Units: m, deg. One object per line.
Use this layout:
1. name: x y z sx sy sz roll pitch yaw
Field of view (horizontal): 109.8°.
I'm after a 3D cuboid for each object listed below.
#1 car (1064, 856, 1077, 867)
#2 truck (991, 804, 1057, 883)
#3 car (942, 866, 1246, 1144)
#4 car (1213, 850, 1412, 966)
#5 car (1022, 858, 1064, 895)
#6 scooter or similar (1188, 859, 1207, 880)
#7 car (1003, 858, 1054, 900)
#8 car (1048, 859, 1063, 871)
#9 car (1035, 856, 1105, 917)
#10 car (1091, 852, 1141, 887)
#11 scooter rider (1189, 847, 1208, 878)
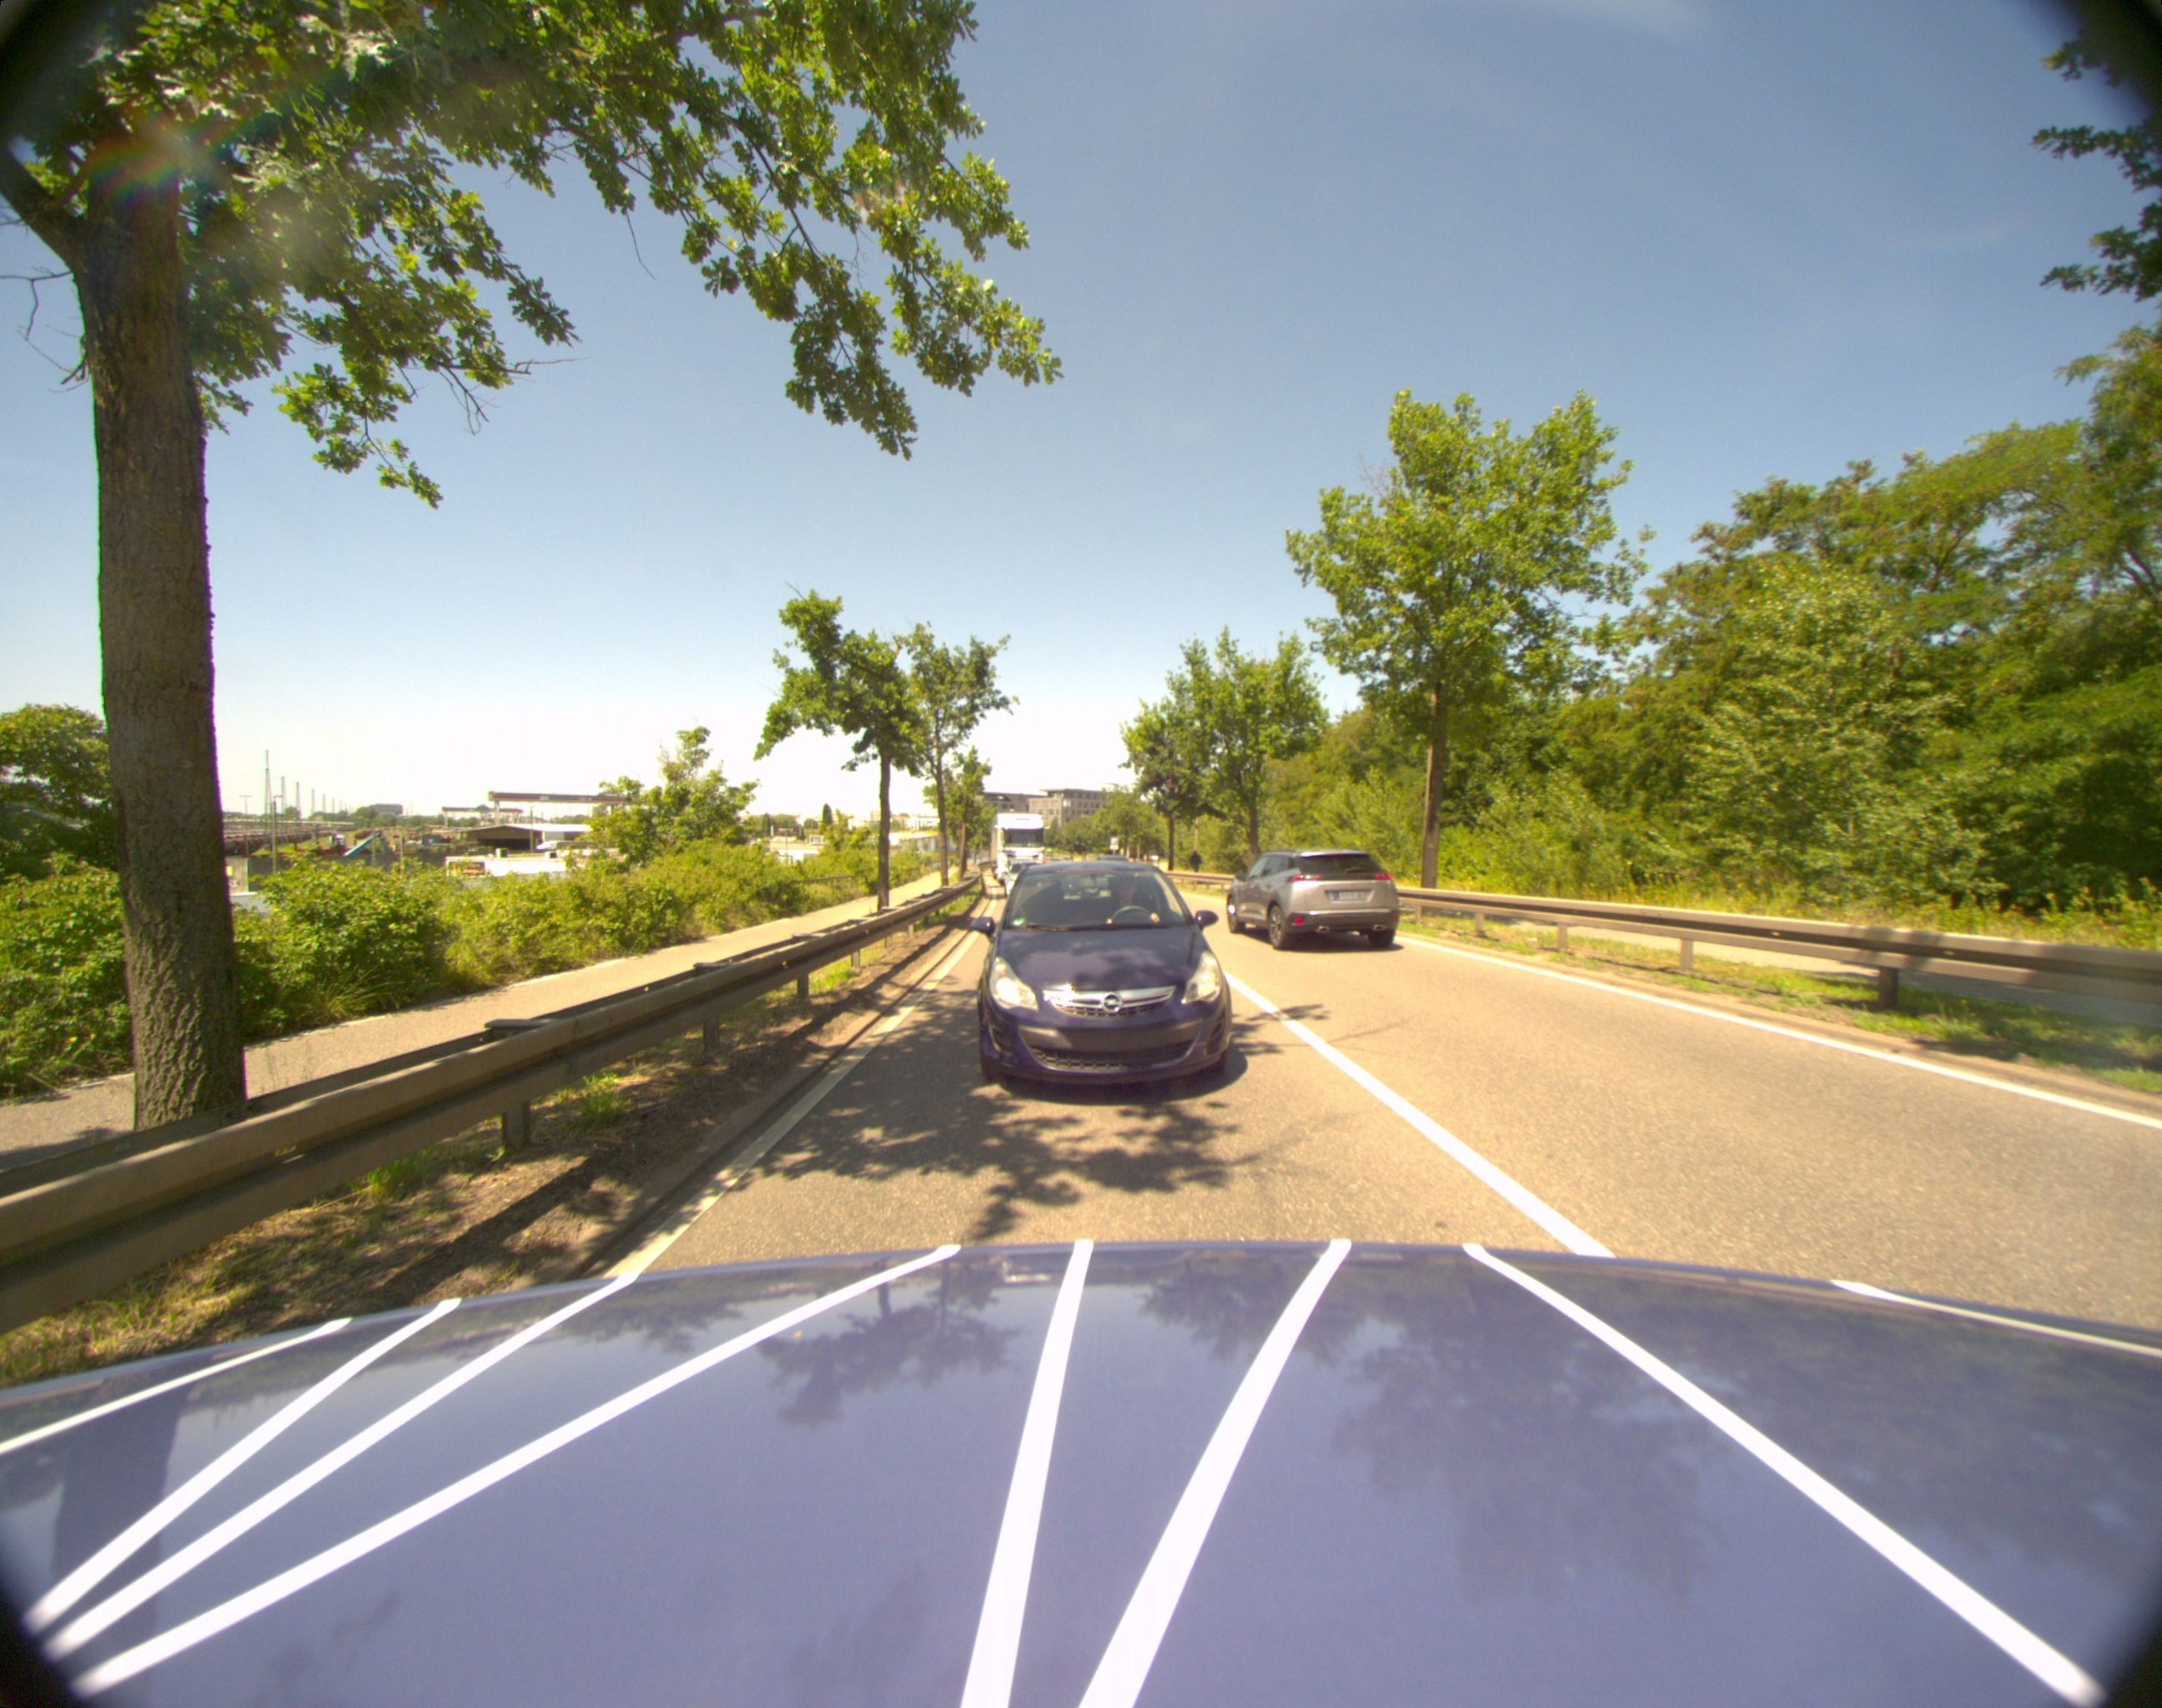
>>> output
1. car: -2.032 1.540 150.609 1.779 2.002 4.002 -2 1 10
2. truck: -4.078 -0.609 49.400 3.072 4.146 16.897 -2 1 -8
3. car: -0.007 0.903 6.326 1.720 1.455 3.836 -2 1 -3
4. car: 3.597 0.733 12.649 1.754 1.547 4.124 -2 1 -4
5. car: -1.874 1.049 36.662 1.781 1.569 3.997 -2 1 -6
6. scooter or similar: 6.494 0.850 42.408 0.779 1.085 1.095 -2 1 -2
7. car: -1.998 0.905 29.069 1.781 1.398 3.998 -2 1 -4
8. car: -4.649 1.960 138.811 1.779 2.002 4.002 -2 1 10
9. car: -0.396 0.851 21.918 1.781 1.498 3.894 -2 1 -4
10. car: 1.646 0.741 37.585 1.874 1.594 4.391 -2 0 -5
11. scooter rider: 6.544 0.460 42.408 0.779 1.648 1.120 -2 1 -1
